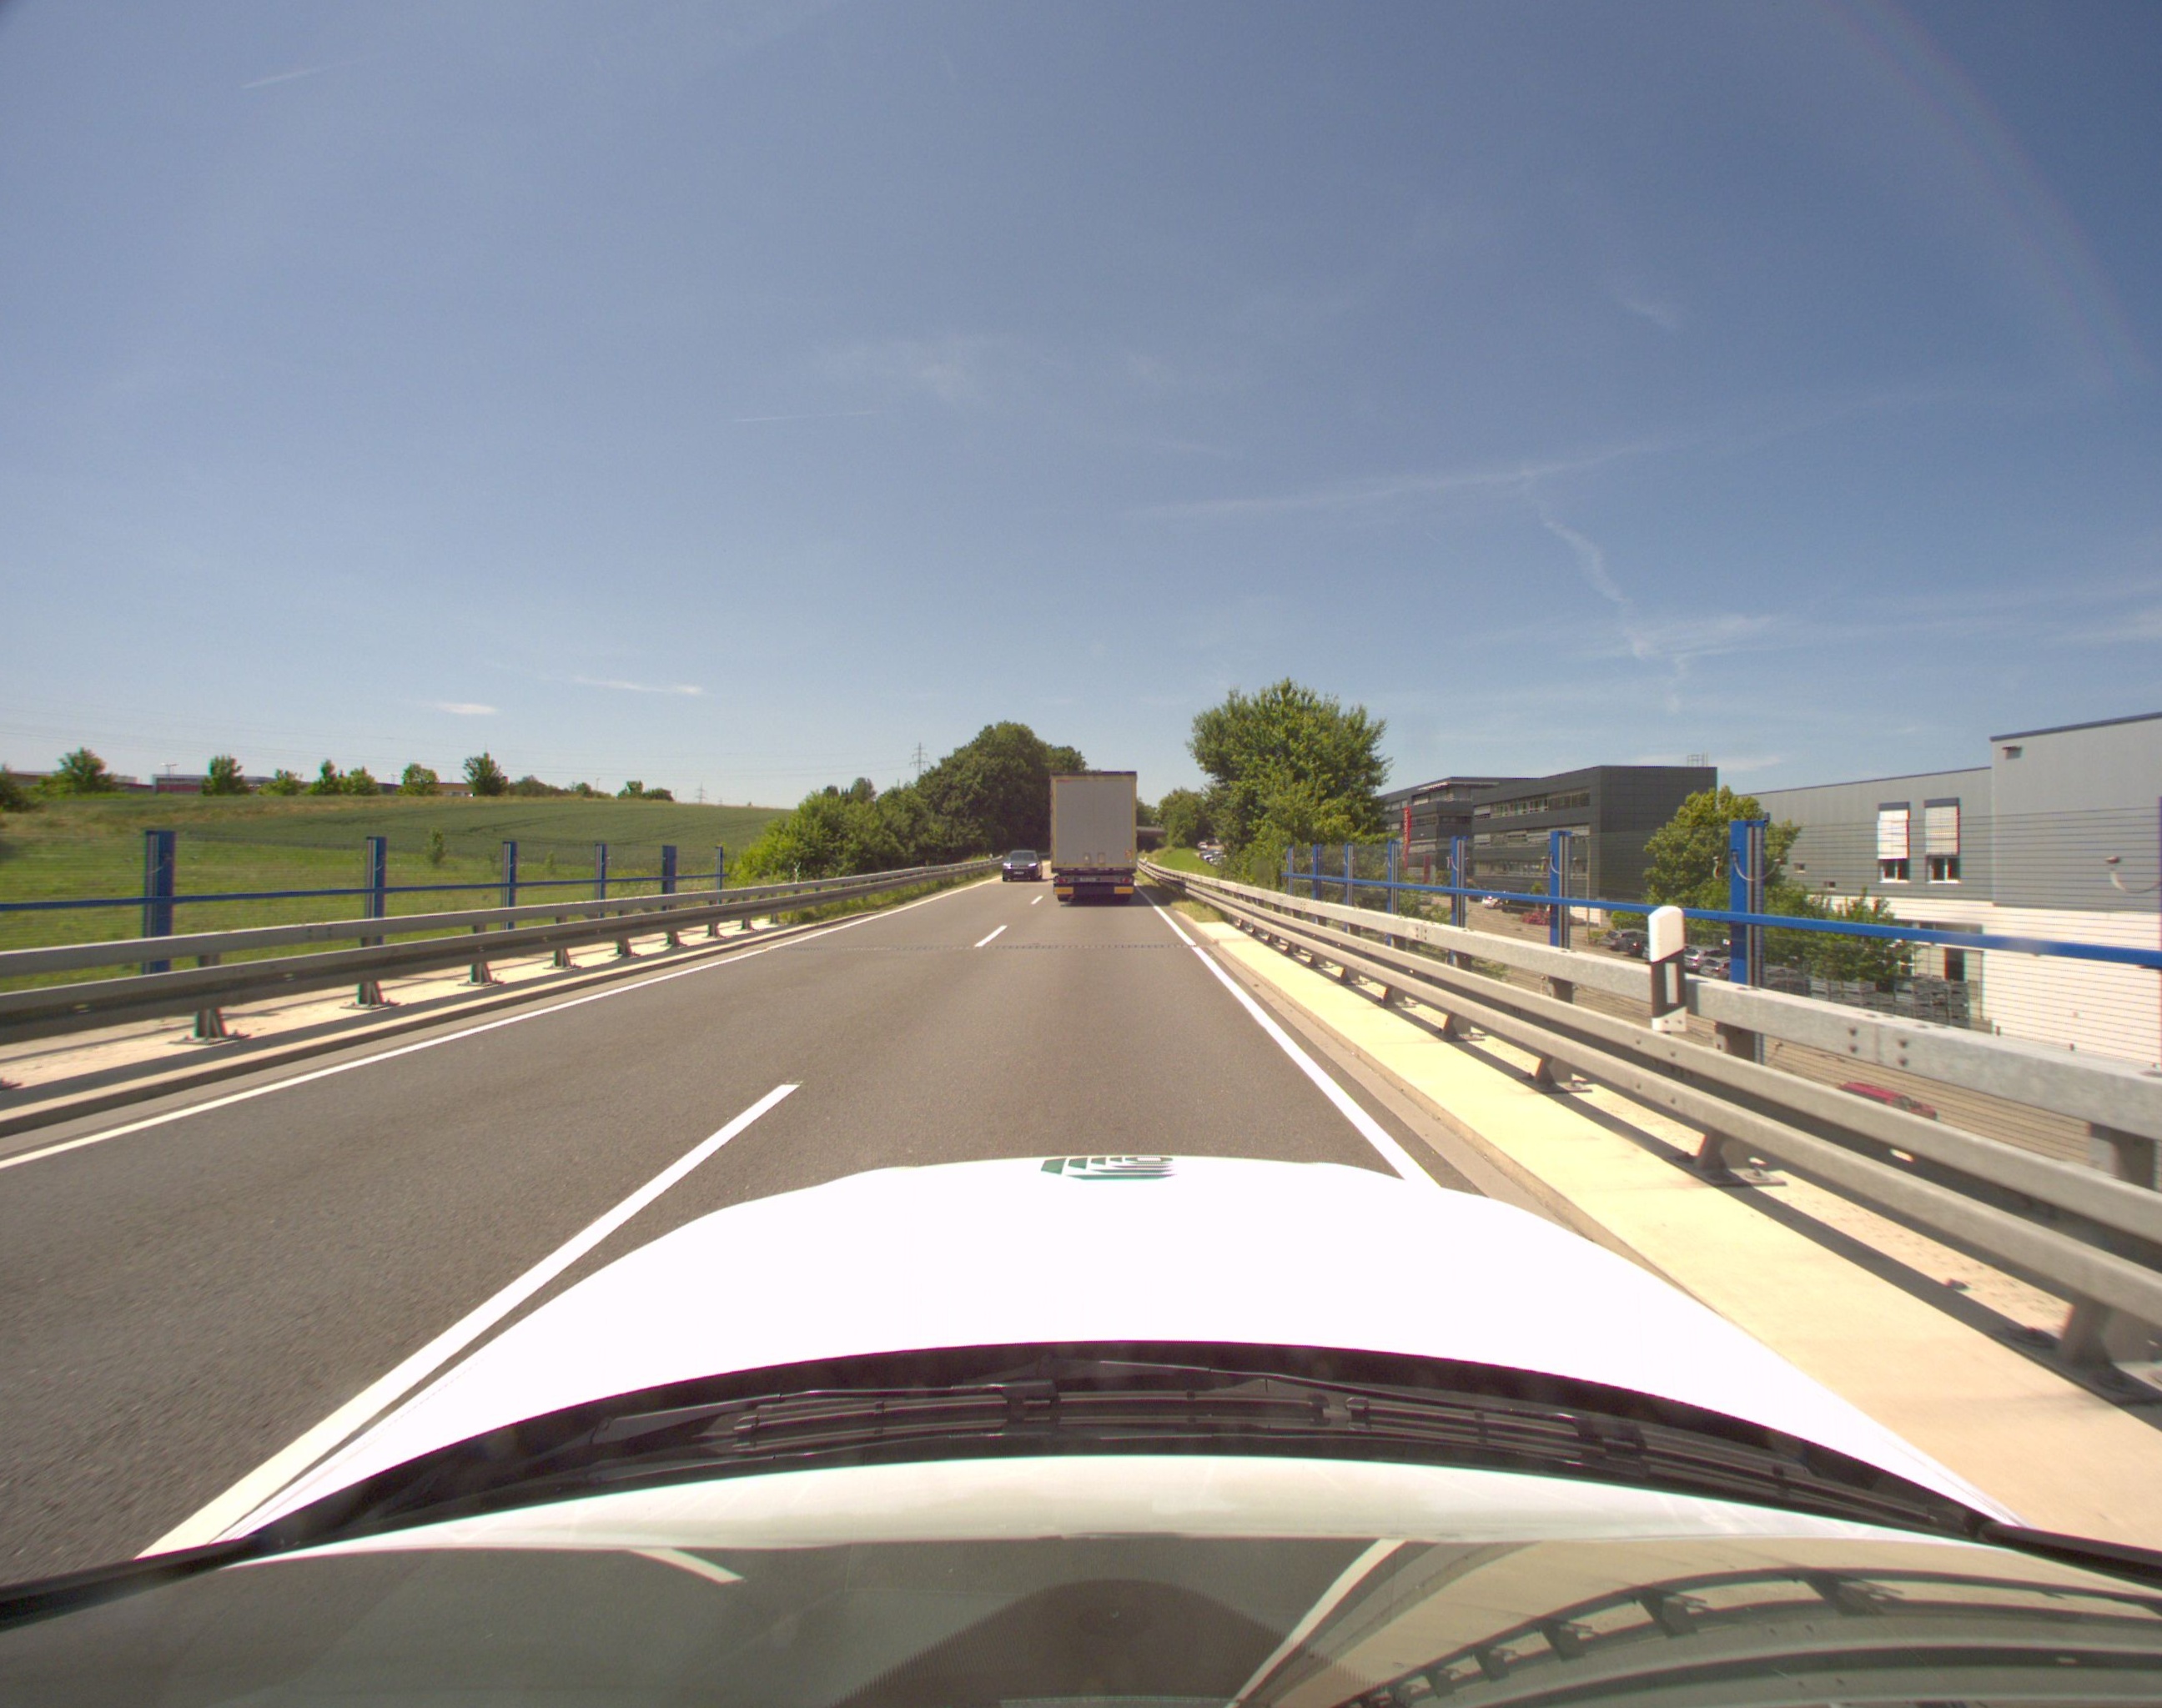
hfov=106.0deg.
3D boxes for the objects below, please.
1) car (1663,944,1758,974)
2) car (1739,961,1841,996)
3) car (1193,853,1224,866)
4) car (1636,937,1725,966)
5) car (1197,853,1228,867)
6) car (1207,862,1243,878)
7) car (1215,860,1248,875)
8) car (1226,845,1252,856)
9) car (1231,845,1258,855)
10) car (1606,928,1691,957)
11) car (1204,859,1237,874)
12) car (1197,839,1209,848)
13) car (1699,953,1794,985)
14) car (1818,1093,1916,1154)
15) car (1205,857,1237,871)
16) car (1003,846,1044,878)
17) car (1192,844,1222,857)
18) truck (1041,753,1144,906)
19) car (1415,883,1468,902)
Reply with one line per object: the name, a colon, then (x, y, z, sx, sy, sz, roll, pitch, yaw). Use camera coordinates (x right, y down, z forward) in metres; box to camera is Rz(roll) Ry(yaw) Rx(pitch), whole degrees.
car: (39.561, 6.604, 51.233, 4.556, 1.571, 1.821, 0, 3, 0)
car: (39.811, 6.978, 45.805, 4.023, 1.571, 1.913, 0, 3, 0)
car: (20.558, 0.887, 131.215, 4.383, 1.684, 1.874, 4, 4, -25)
car: (39.541, 6.409, 53.779, 4.556, 1.571, 1.821, 0, 3, 0)
car: (20.751, 0.993, 128.568, 4.383, 1.684, 1.874, 4, 4, -25)
car: (19.510, 2.184, 110.212, 4.375, 1.684, 1.878, 5, 3, -19)
car: (21.168, 1.856, 114.785, 4.393, 1.684, 1.870, 4, 4, -34)
car: (30.580, -0.666, 157.372, 4.532, 1.628, 1.831, 5, 3, 24)
car: (31.130, -0.737, 154.903, 4.532, 1.628, 1.831, 5, 3, 24)
car: (39.474, 6.162, 56.705, 4.556, 1.571, 1.821, 2, 3, 0)
car: (20.305, 1.800, 118.437, 4.393, 1.684, 1.870, 4, 4, -34)
car: (23.965, -2.074, 159.787, 1.619, 1.353, 3.712, 6, 3, 0)
car: (39.566, 6.838, 48.490, 4.023, 1.571, 1.913, 0, 3, 0)
car: (25.231, 8.572, 26.115, 3.695, 1.148, 1.496, 7, -1, -35)
car: (20.765, 1.513, 120.801, 4.393, 1.684, 1.870, 4, 4, -34)
car: (-2.999, 0.370, 43.275, 1.859, 1.611, 4.372, 0, 0, 0)
car: (20.789, -0.637, 134.157, 4.383, 1.684, 1.874, 4, 4, -25)
truck: (0.452, -0.798, 28.504, 2.855, 4.359, 9.793, 2, 1, 1)
car: (36.528, 3.900, 82.674, 4.559, 1.571, 1.820, 1, 4, -2)
